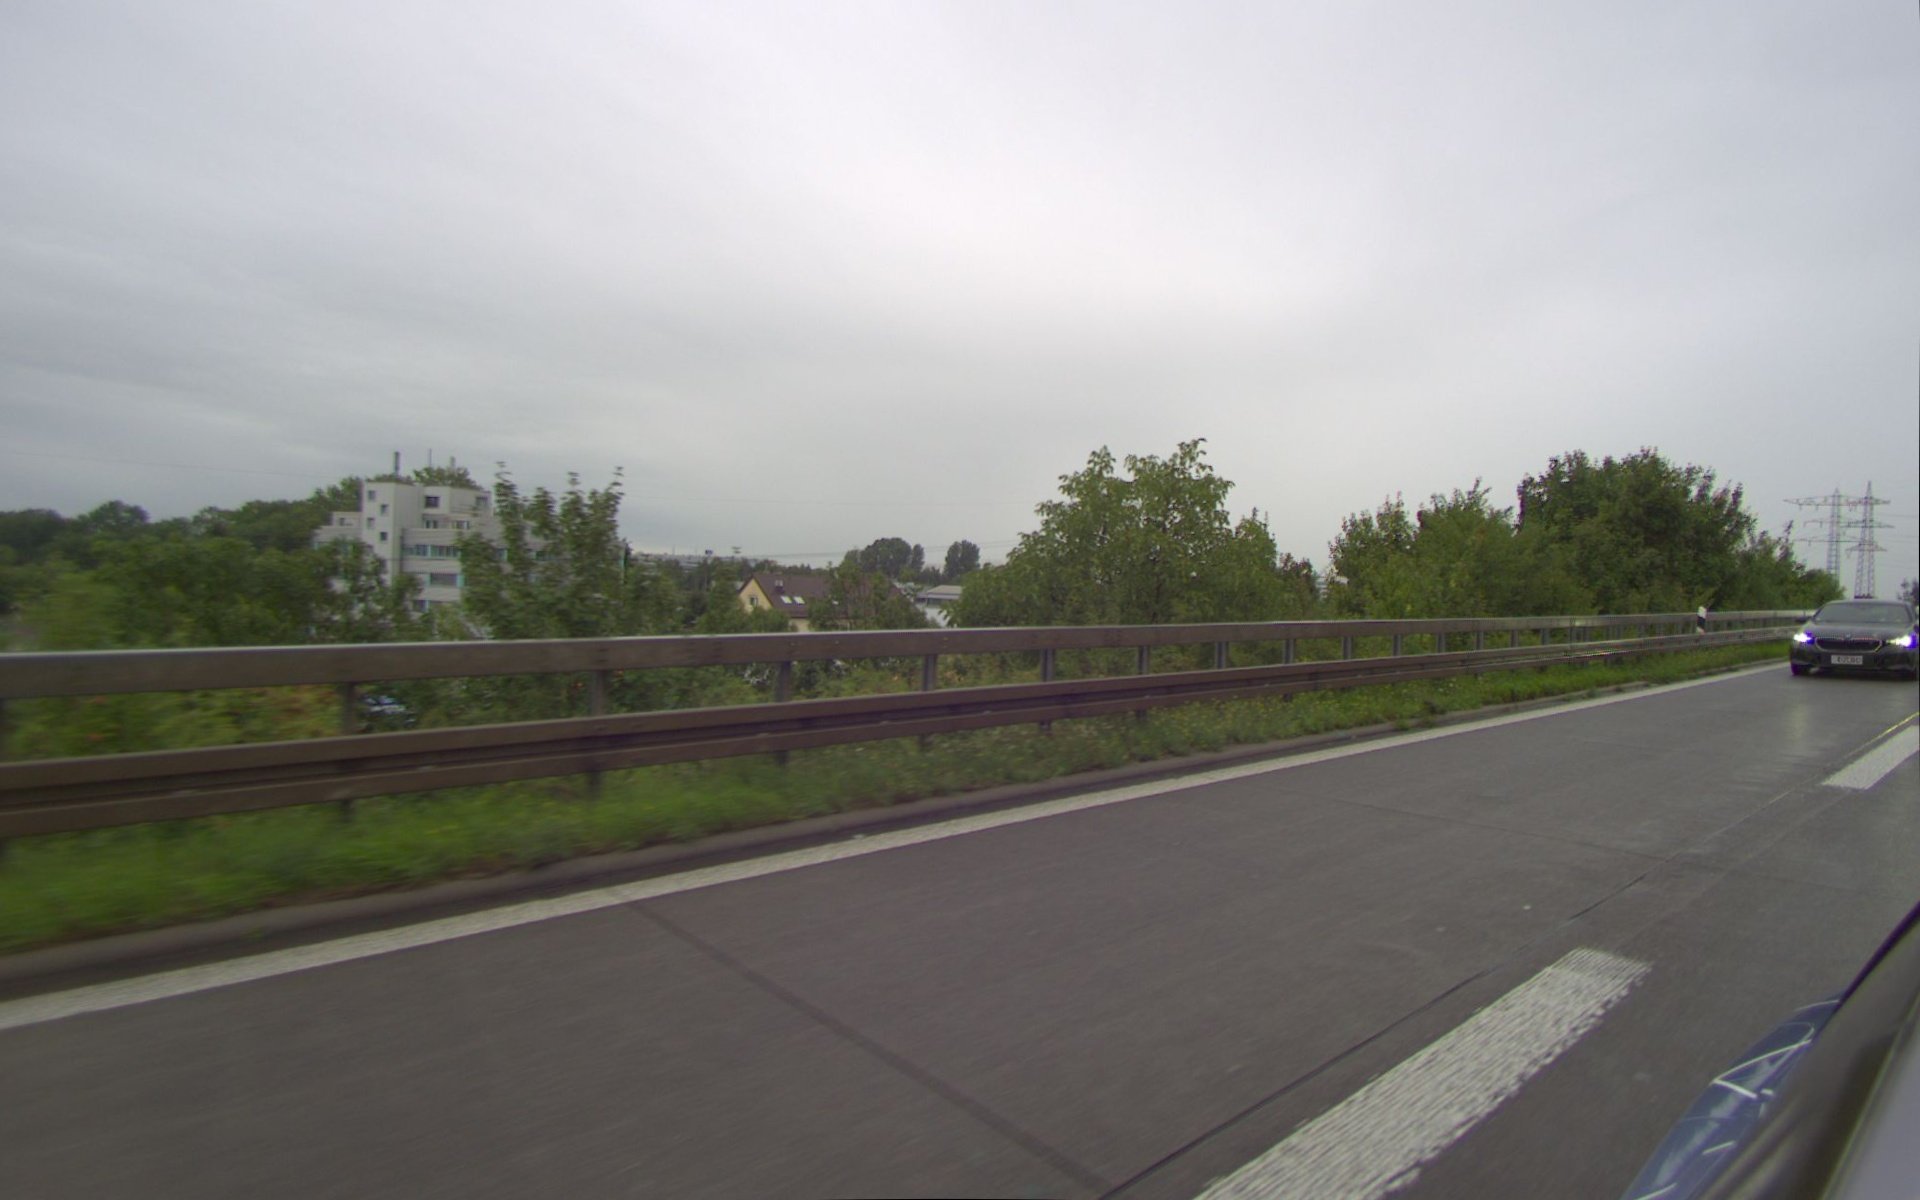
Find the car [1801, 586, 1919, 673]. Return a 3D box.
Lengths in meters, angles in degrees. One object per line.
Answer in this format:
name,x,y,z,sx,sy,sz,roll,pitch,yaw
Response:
car,18.387,0.552,20.246,4.131,1.560,1.860,1,0,-42
